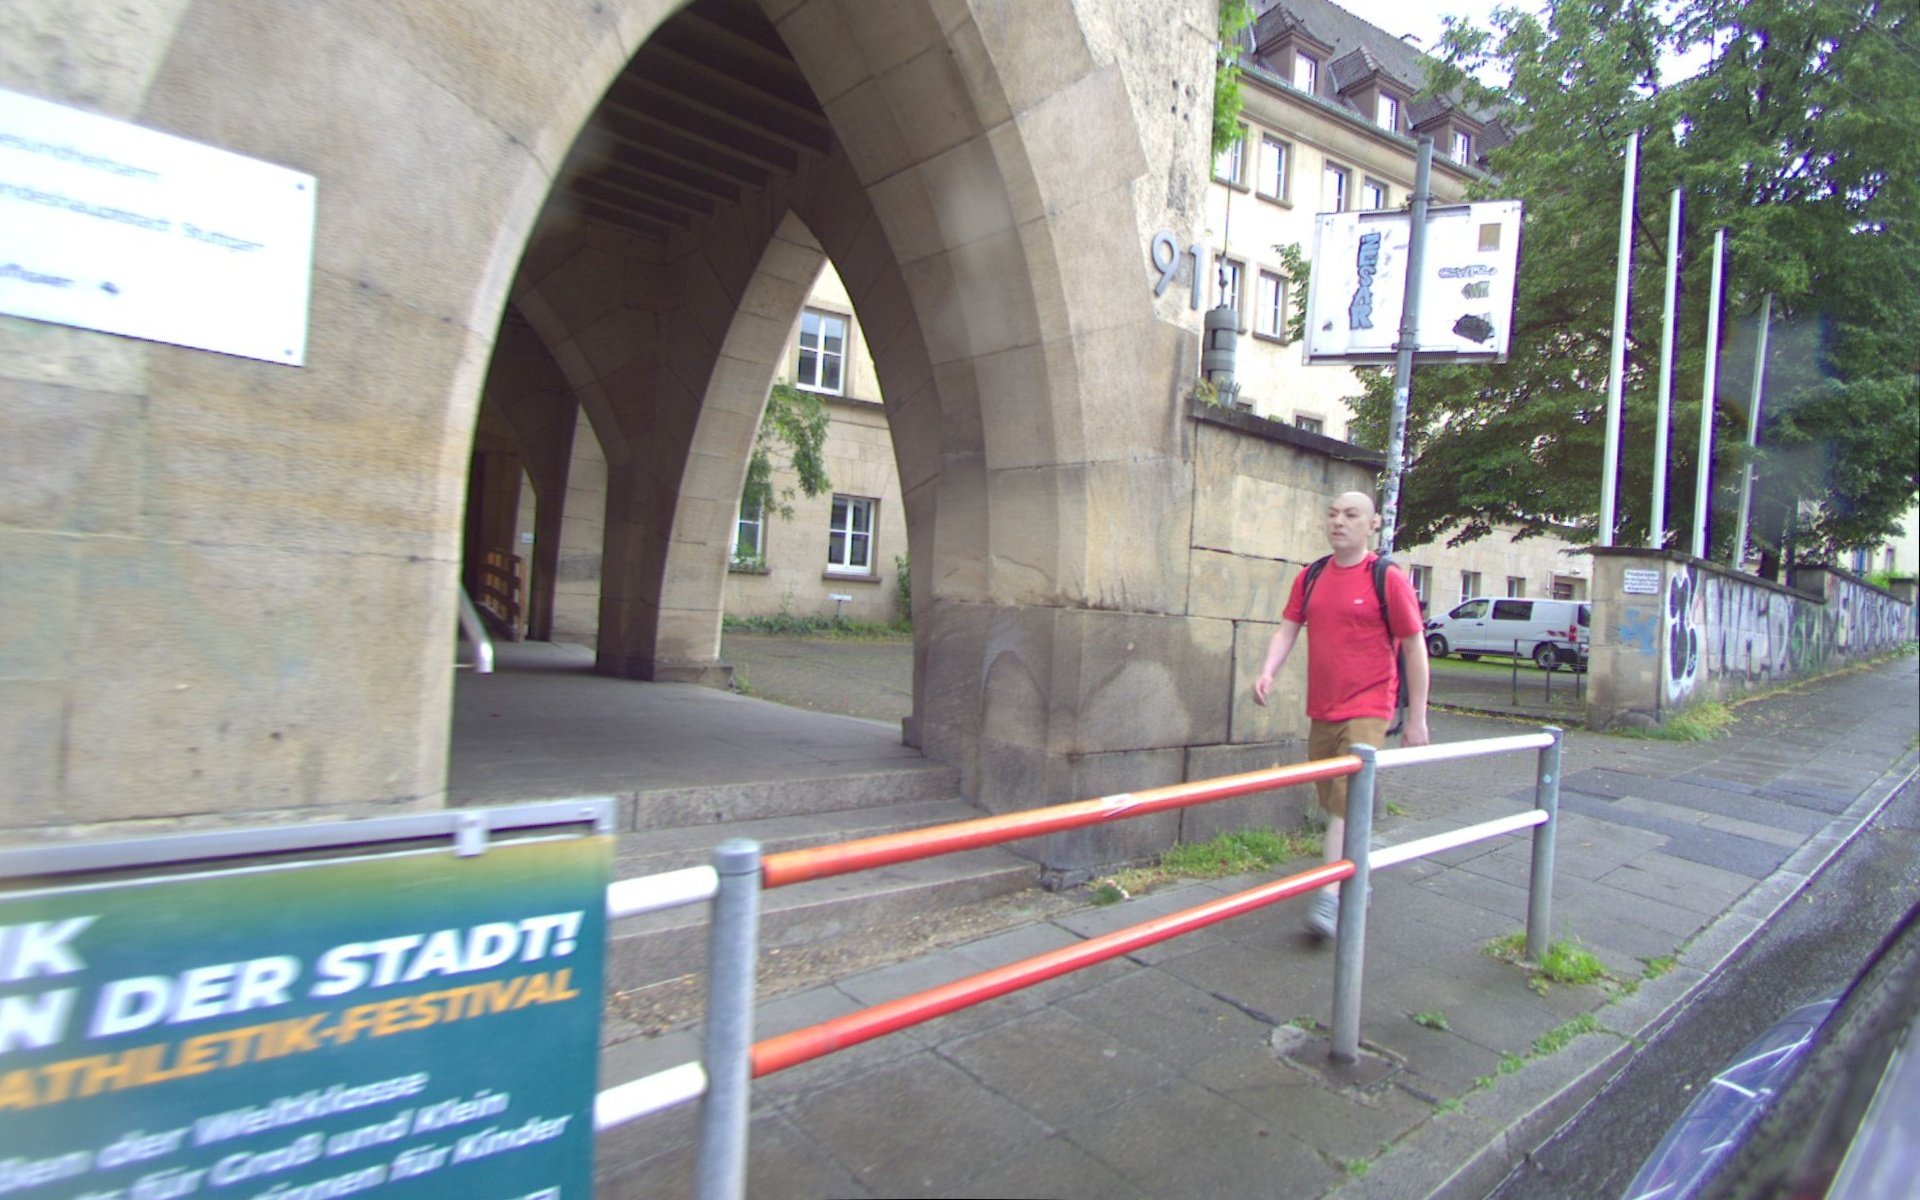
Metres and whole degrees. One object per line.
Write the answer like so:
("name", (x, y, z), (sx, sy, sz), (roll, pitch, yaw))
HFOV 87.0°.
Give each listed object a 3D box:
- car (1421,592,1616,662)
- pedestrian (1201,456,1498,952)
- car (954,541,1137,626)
("car", (15.559, 0.686, 28.477), (1.786, 1.802, 4.538), (0, 0, -29))
("pedestrian", (1.593, 0.353, 4.164), (0.804, 1.785, 0.748), (1, 4, -41))
("car", (1.556, -0.298, 19.743), (1.580, 1.488, 3.919), (0, 0, -31))
